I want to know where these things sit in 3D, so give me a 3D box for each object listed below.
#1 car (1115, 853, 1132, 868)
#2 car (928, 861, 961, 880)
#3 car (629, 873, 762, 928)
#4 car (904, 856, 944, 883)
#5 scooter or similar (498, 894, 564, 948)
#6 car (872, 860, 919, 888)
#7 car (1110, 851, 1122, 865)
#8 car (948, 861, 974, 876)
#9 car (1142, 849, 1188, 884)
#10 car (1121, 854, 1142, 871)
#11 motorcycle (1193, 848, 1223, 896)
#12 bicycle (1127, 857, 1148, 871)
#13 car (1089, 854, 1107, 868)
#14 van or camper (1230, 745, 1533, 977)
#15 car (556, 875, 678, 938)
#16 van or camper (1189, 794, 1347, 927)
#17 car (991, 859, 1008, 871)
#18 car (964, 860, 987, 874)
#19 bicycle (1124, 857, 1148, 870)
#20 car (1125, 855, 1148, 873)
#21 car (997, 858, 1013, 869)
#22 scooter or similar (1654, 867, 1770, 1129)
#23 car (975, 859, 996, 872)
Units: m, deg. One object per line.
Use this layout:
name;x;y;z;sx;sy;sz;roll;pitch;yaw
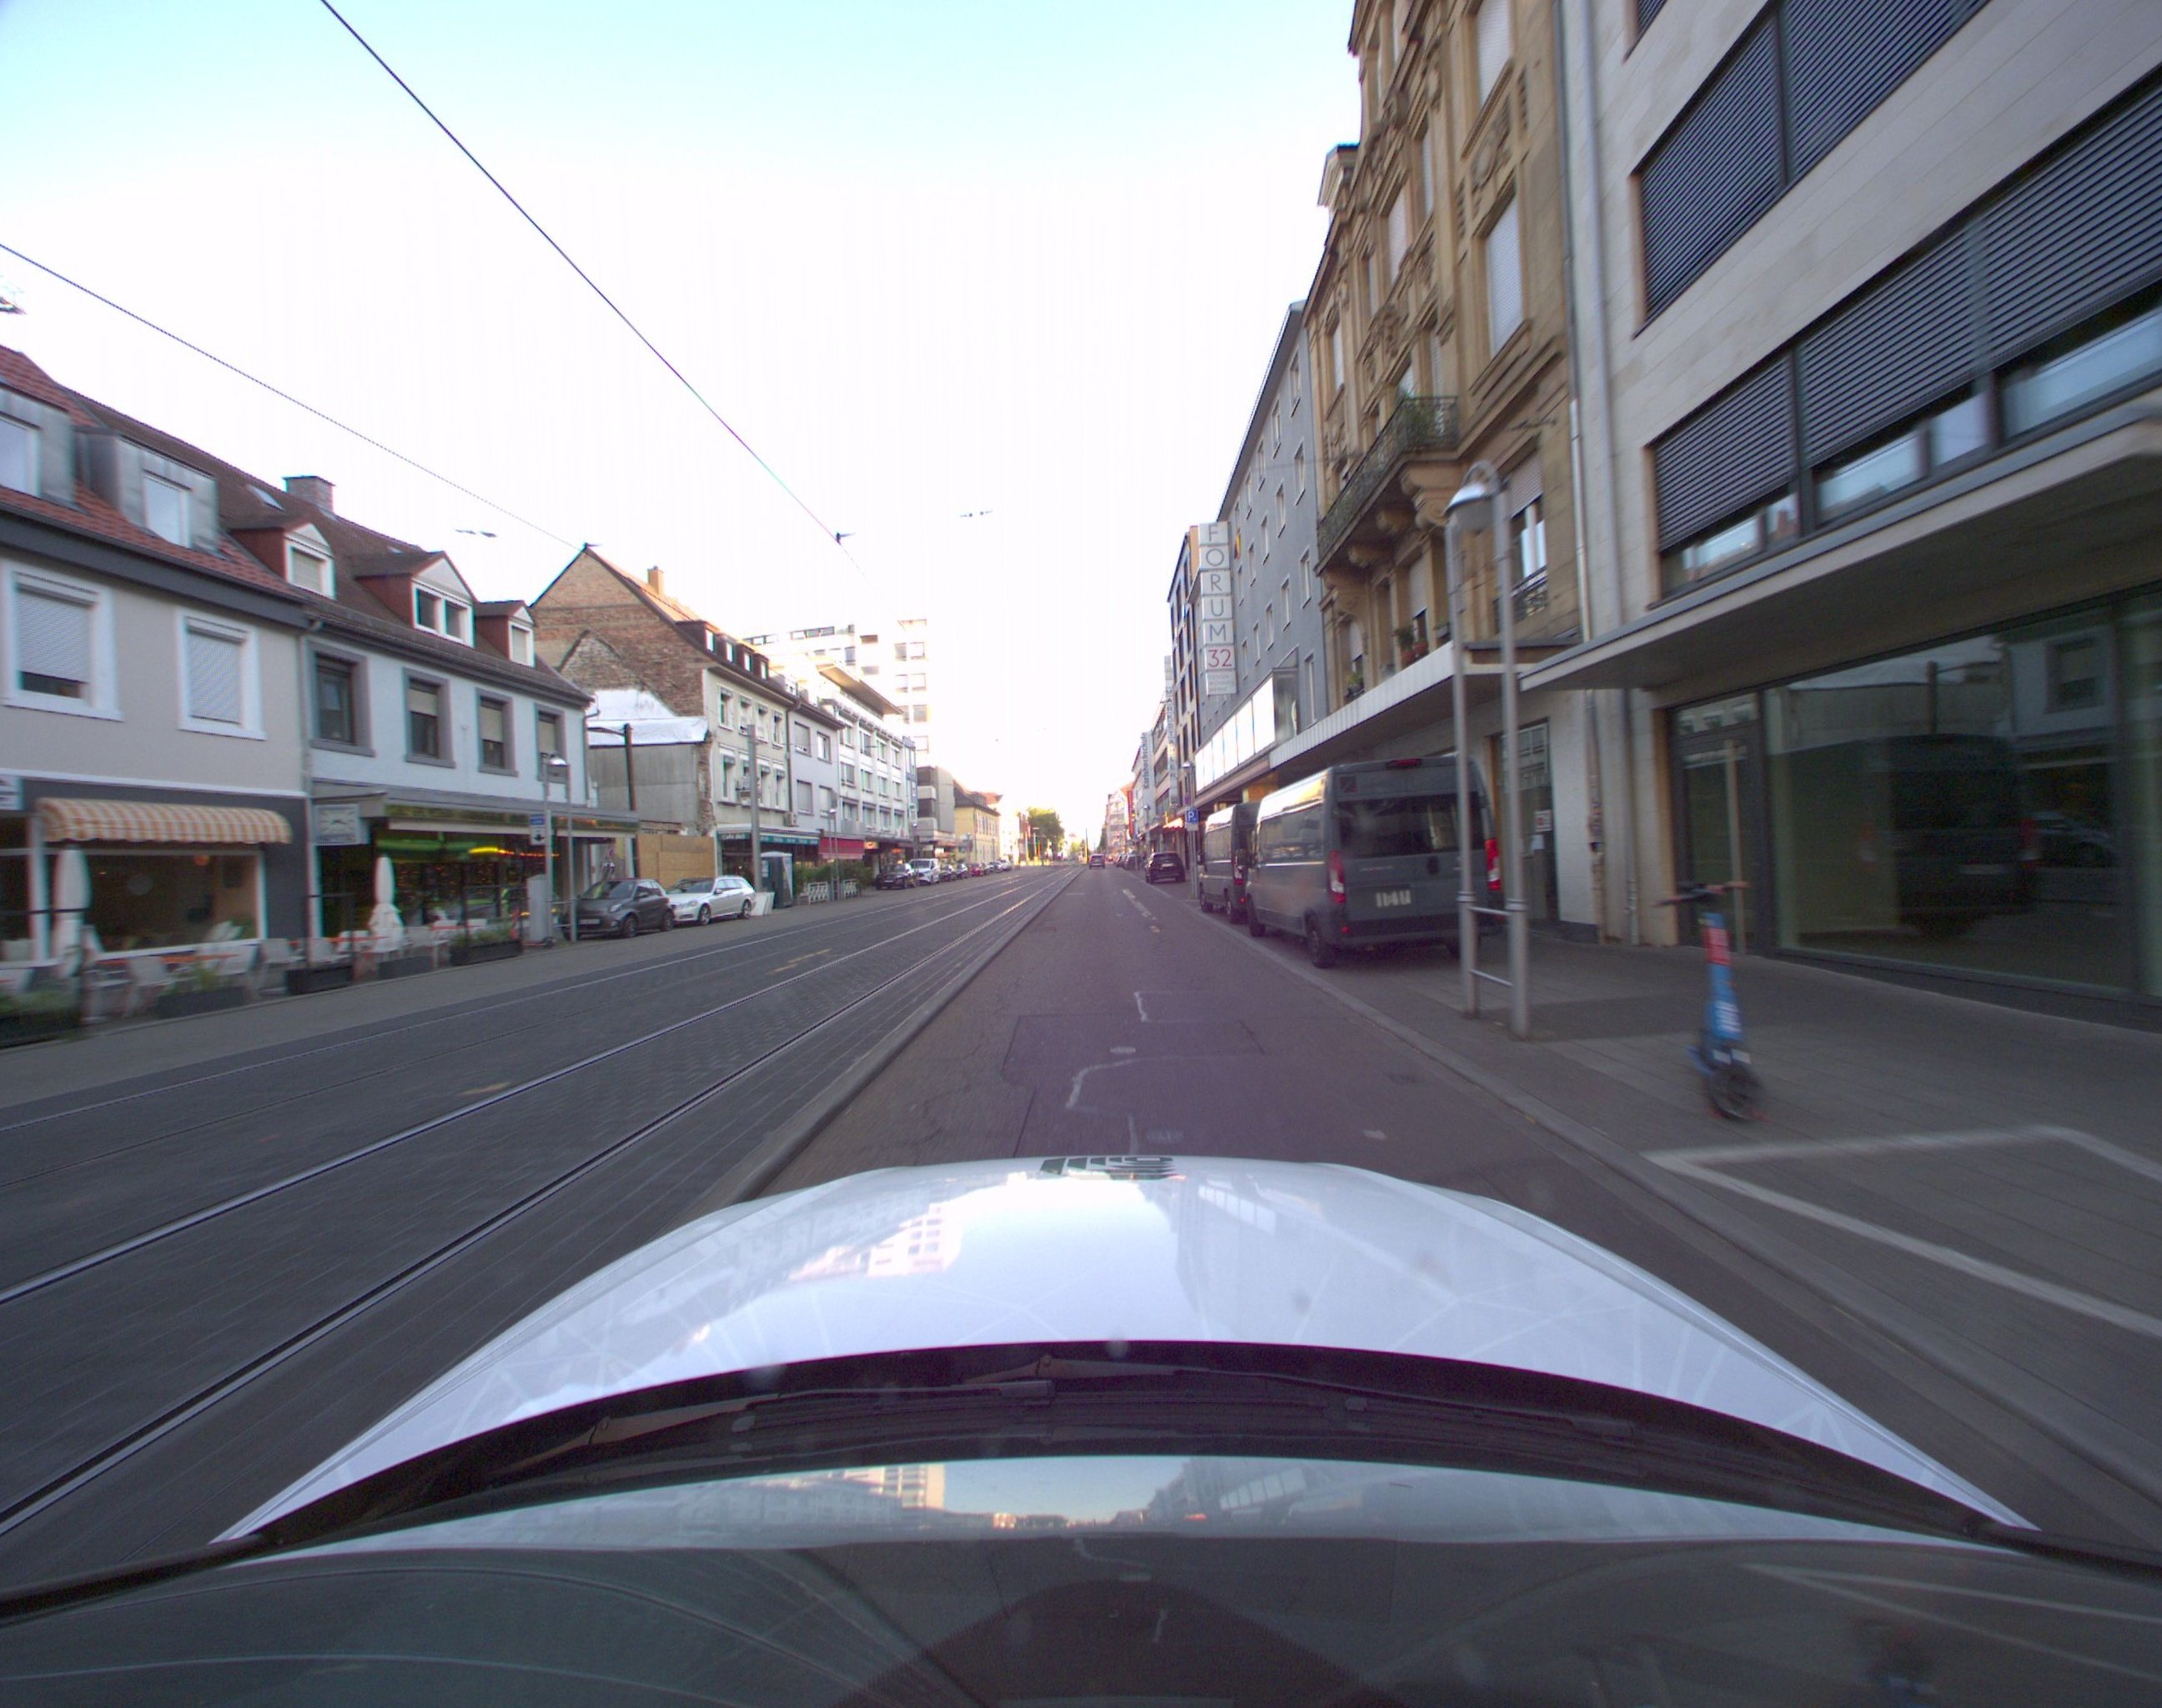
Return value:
car;5.203;0.794;101.146;1.936;1.703;4.547;-5;0;2
car;-11.397;1.322;68.306;1.911;1.521;4.630;0;0;0
car;-12.193;1.406;26.175;1.842;1.504;4.843;0;0;2
car;-11.687;1.095;60.786;1.910;1.936;4.843;0;0;1
scooter or similar;-12.417;1.505;18.385;1.309;1.205;0.294;0;-1;1
car;-11.996;1.258;53.020;1.910;1.763;4.431;0;0;1
car;6.019;0.668;139.642;1.936;2.145;4.547;-4;0;2
car;-10.964;1.288;74.599;1.785;1.339;3.891;0;0;0
car;4.241;0.581;41.579;1.936;1.545;4.547;-5;0;2
car;5.316;0.868;86.082;1.936;1.545;4.547;-5;0;2
motorcycle;4.131;0.558;26.432;0.808;1.417;2.010;-4;0;9
bicycle;5.002;0.879;72.171;1.862;1.090;0.545;-3;0;0
car;2.042;0.767;96.098;1.936;1.545;4.547;-2;0;2
van or camper;3.915;0.089;12.162;2.181;2.426;6.133;-5;0;1
car;-12.234;1.338;21.654;1.586;1.504;2.812;0;0;0
van or camper;4.041;0.133;18.716;2.182;2.426;5.516;-5;0;0
car;-10.349;1.357;103.307;1.785;1.449;3.891;0;0;0
car;-10.961;1.335;84.705;1.785;1.339;3.891;0;0;0
bicycle;5.133;0.890;75.922;2.113;1.090;0.591;-3;0;-2
car;5.387;0.966;79.412;1.936;1.545;4.547;-5;0;2
car;-10.184;1.307;109.342;1.785;1.449;3.891;0;0;0
scooter or similar;3.484;0.723;4.550;0.350;1.224;1.123;-5;-1;34
car;-10.530;1.258;90.115;1.785;1.339;3.891;0;0;0
